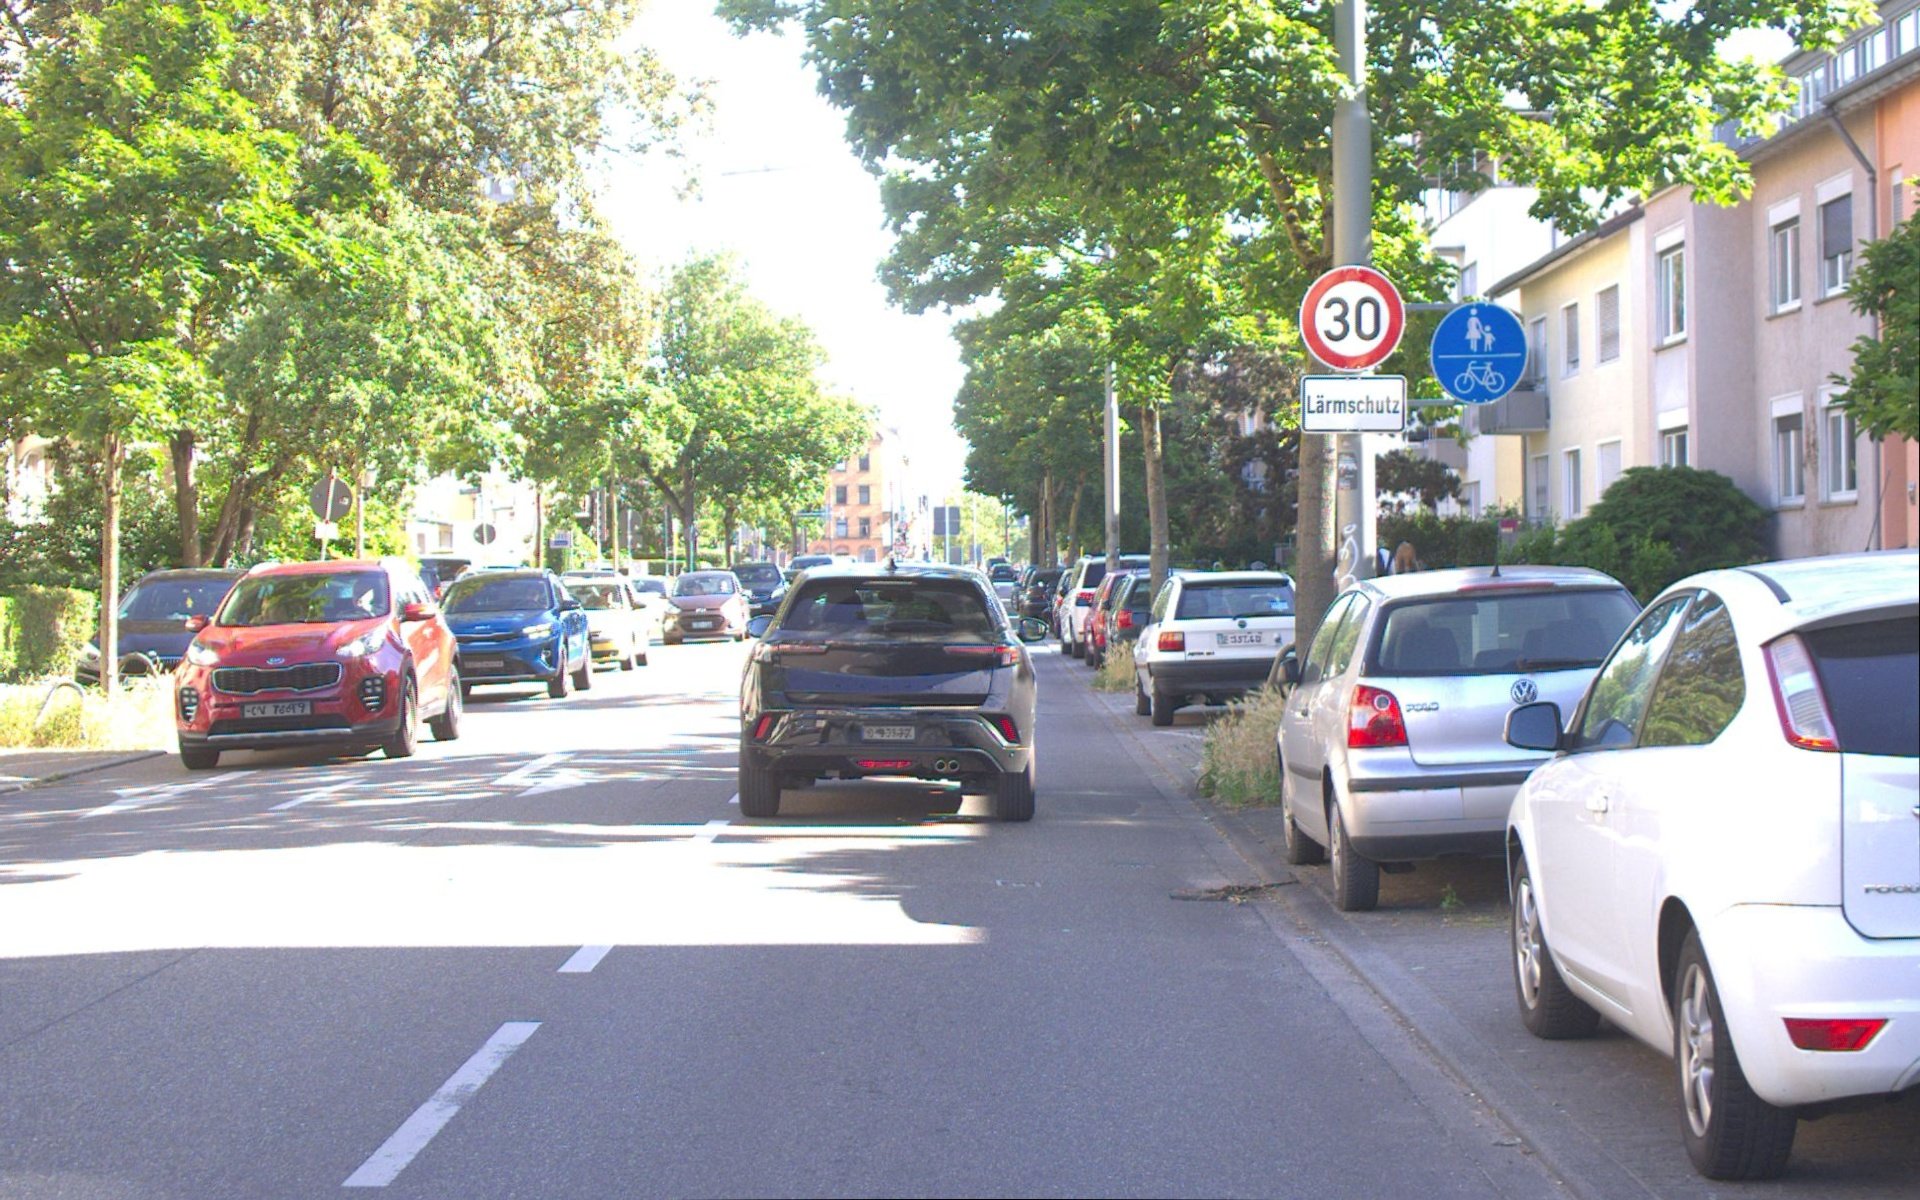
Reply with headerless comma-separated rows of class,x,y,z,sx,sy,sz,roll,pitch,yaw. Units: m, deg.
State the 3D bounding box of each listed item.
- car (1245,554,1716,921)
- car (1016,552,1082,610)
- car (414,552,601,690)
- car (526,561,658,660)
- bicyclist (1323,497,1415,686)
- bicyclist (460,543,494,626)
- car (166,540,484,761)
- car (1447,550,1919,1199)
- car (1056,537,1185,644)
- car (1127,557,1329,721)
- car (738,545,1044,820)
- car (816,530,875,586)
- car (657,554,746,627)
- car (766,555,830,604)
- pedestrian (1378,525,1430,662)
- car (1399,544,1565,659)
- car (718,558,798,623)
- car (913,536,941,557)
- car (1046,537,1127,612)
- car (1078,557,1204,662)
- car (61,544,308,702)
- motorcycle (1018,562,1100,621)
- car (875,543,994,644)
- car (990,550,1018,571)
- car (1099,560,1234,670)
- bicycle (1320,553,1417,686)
car,2.290,0.544,16.006,1.567,1.452,3.865,-2,1,0
car,2.267,-0.504,88.330,1.586,1.391,4.454,-2,1,1
car,-5.461,0.220,41.900,1.655,1.512,4.076,-3,1,0
car,-5.615,0.128,52.798,1.634,1.398,3.736,-3,1,-1
bicyclist,3.972,-0.086,33.445,0.724,1.787,1.015,-2,1,0
bicyclist,-10.181,-0.331,72.475,0.608,1.748,0.691,-1,0,0
car,-5.241,0.356,28.929,1.721,1.611,4.299,-3,1,1
car,2.507,0.614,9.447,1.739,1.477,4.196,-2,1,1
car,2.599,-0.179,56.517,1.768,1.653,4.341,-2,1,-1
car,2.503,0.325,32.833,1.649,1.398,3.970,-2,1,1
car,-0.398,0.460,21.619,1.745,1.568,3.558,1,1,0
car,-4.252,-1.578,128.536,2.016,1.945,5.179,-2,1,-1
car,-5.372,-0.221,71.728,1.581,1.446,3.745,-2,1,-1
car,-5.034,-0.660,107.088,1.733,1.408,4.192,-3,1,0
pedestrian,5.514,-0.083,42.708,0.538,1.671,0.493,-2,0,0
car,6.748,-0.001,44.758,1.532,1.351,3.718,-3,1,0
car,-5.409,-0.283,92.431,1.836,1.608,4.401,-3,1,0
car,-2.341,-3.768,242.979,1.771,1.447,3.886,-1,1,-3
car,2.628,-0.549,72.002,1.620,1.494,3.649,-1,1,2
car,2.591,0.109,49.872,1.531,1.444,3.718,-1,1,-1
car,-8.339,0.212,37.331,1.670,1.599,4.394,0,1,0
motorcycle,2.210,-0.178,77.044,0.697,1.267,2.432,-3,1,-27
car,-0.382,-0.129,56.159,1.830,1.573,3.839,-1,1,1
car,3.316,-2.987,258.621,1.993,1.514,4.000,2,0,2
car,2.672,0.164,45.176,1.532,1.351,3.718,-1,1,0
bicycle,3.970,0.172,33.513,0.698,1.242,1.822,-2,1,0
